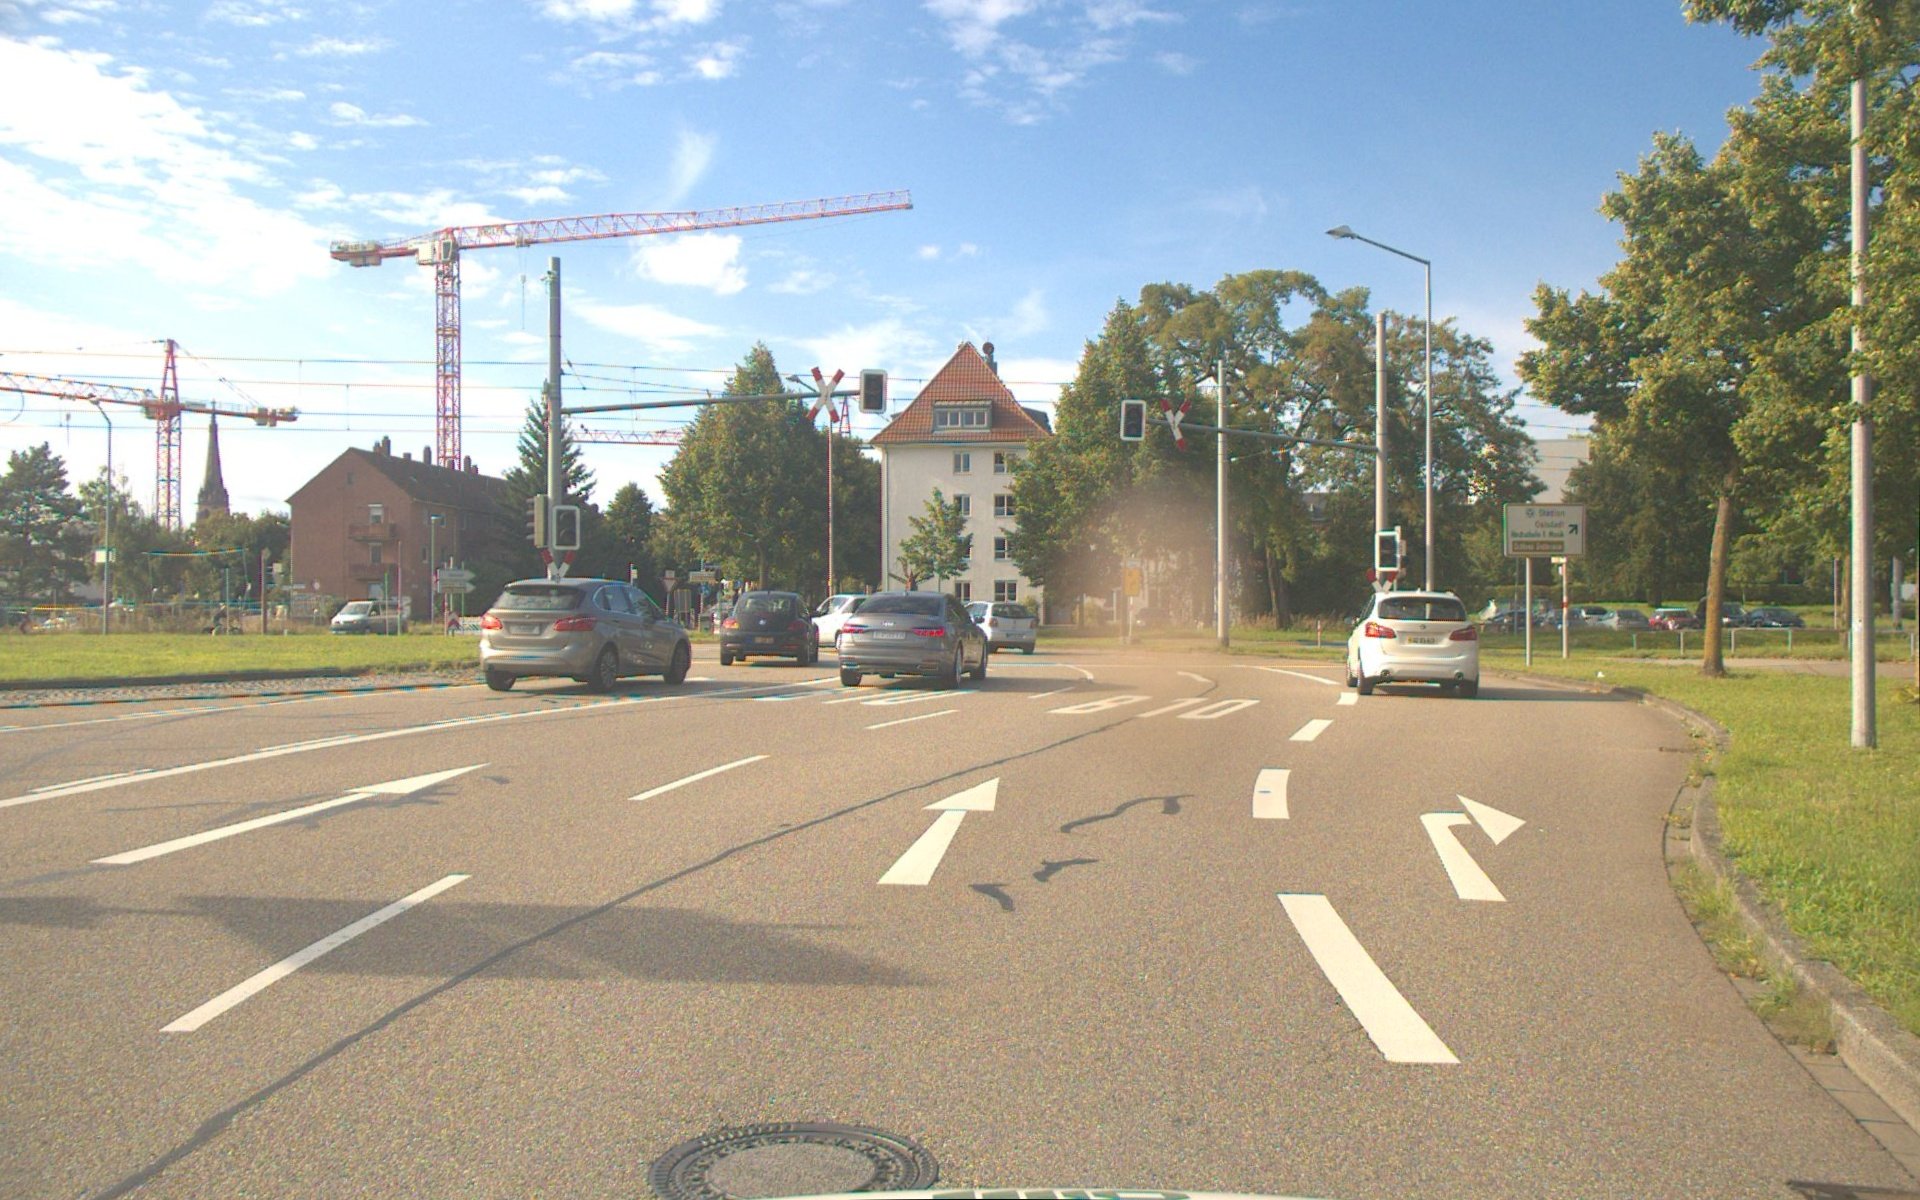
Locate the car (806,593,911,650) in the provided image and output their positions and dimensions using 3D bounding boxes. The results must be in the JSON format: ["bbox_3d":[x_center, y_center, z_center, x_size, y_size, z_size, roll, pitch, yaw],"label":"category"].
[{"bbox_3d":[-2.883,0.592,46.095,1.822,1.504,4.430,1,-1,-19],"label":"car"}]

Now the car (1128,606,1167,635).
[{"bbox_3d":[9.198,0.993,81.327,1.816,1.405,4.518,-1,-1,6],"label":"car"}]

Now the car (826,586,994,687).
[{"bbox_3d":[-0.692,0.568,26.695,1.811,1.470,4.718,1,-1,9],"label":"car"}]

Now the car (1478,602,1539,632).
[{"bbox_3d":[26.471,0.800,79.908,1.816,1.383,4.736,-1,-1,6],"label":"car"}]

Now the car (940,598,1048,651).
[{"bbox_3d":[0.918,0.695,47.680,1.821,1.451,4.433,1,-1,-17],"label":"car"}]

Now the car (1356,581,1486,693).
[{"bbox_3d":[7.355,0.565,26.206,1.811,1.600,4.457,0,-1,17],"label":"car"}]

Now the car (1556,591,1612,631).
[{"bbox_3d":[34.442,0.644,91.407,1.831,2.049,4.814,1,-1,8],"label":"car"}]

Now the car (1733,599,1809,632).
[{"bbox_3d":[38.754,0.747,79.168,1.816,1.542,4.472,-1,-1,6],"label":"car"}]

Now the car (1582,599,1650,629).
[{"bbox_3d":[31.662,0.662,79.918,1.816,1.382,4.837,-1,-1,6],"label":"car"}]

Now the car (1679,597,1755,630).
[{"bbox_3d":[36.198,0.647,79.173,1.816,1.542,4.948,-1,-1,6],"label":"car"}]

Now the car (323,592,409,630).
[{"bbox_3d":[-30.919,0.591,86.284,1.855,1.936,4.664,0,-1,15],"label":"car"}]

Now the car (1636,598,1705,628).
[{"bbox_3d":[34.137,0.645,79.552,1.816,1.386,4.472,-1,-1,6],"label":"car"}]

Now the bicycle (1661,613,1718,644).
[{"bbox_3d":[30.142,1.166,68.342,2.489,1.244,0.708,-1,0,-26],"label":"bicycle"}]

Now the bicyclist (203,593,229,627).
[{"bbox_3d":[-35.186,0.458,78.232,0.941,1.602,0.769,-1,0,-14],"label":"bicyclist"}]

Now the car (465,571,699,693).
[{"bbox_3d":[-5.378,0.447,24.073,1.730,1.600,4.070,1,-1,12],"label":"car"}]

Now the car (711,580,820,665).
[{"bbox_3d":[-3.918,0.475,33.885,1.954,1.568,3.996,2,-1,-4],"label":"car"}]

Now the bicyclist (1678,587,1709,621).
[{"bbox_3d":[30.409,0.152,68.549,0.990,1.379,0.708,0,0,-25],"label":"bicyclist"}]

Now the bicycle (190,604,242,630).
[{"bbox_3d":[-35.172,0.807,78.233,2.107,1.157,0.769,-1,0,-15],"label":"bicycle"}]
